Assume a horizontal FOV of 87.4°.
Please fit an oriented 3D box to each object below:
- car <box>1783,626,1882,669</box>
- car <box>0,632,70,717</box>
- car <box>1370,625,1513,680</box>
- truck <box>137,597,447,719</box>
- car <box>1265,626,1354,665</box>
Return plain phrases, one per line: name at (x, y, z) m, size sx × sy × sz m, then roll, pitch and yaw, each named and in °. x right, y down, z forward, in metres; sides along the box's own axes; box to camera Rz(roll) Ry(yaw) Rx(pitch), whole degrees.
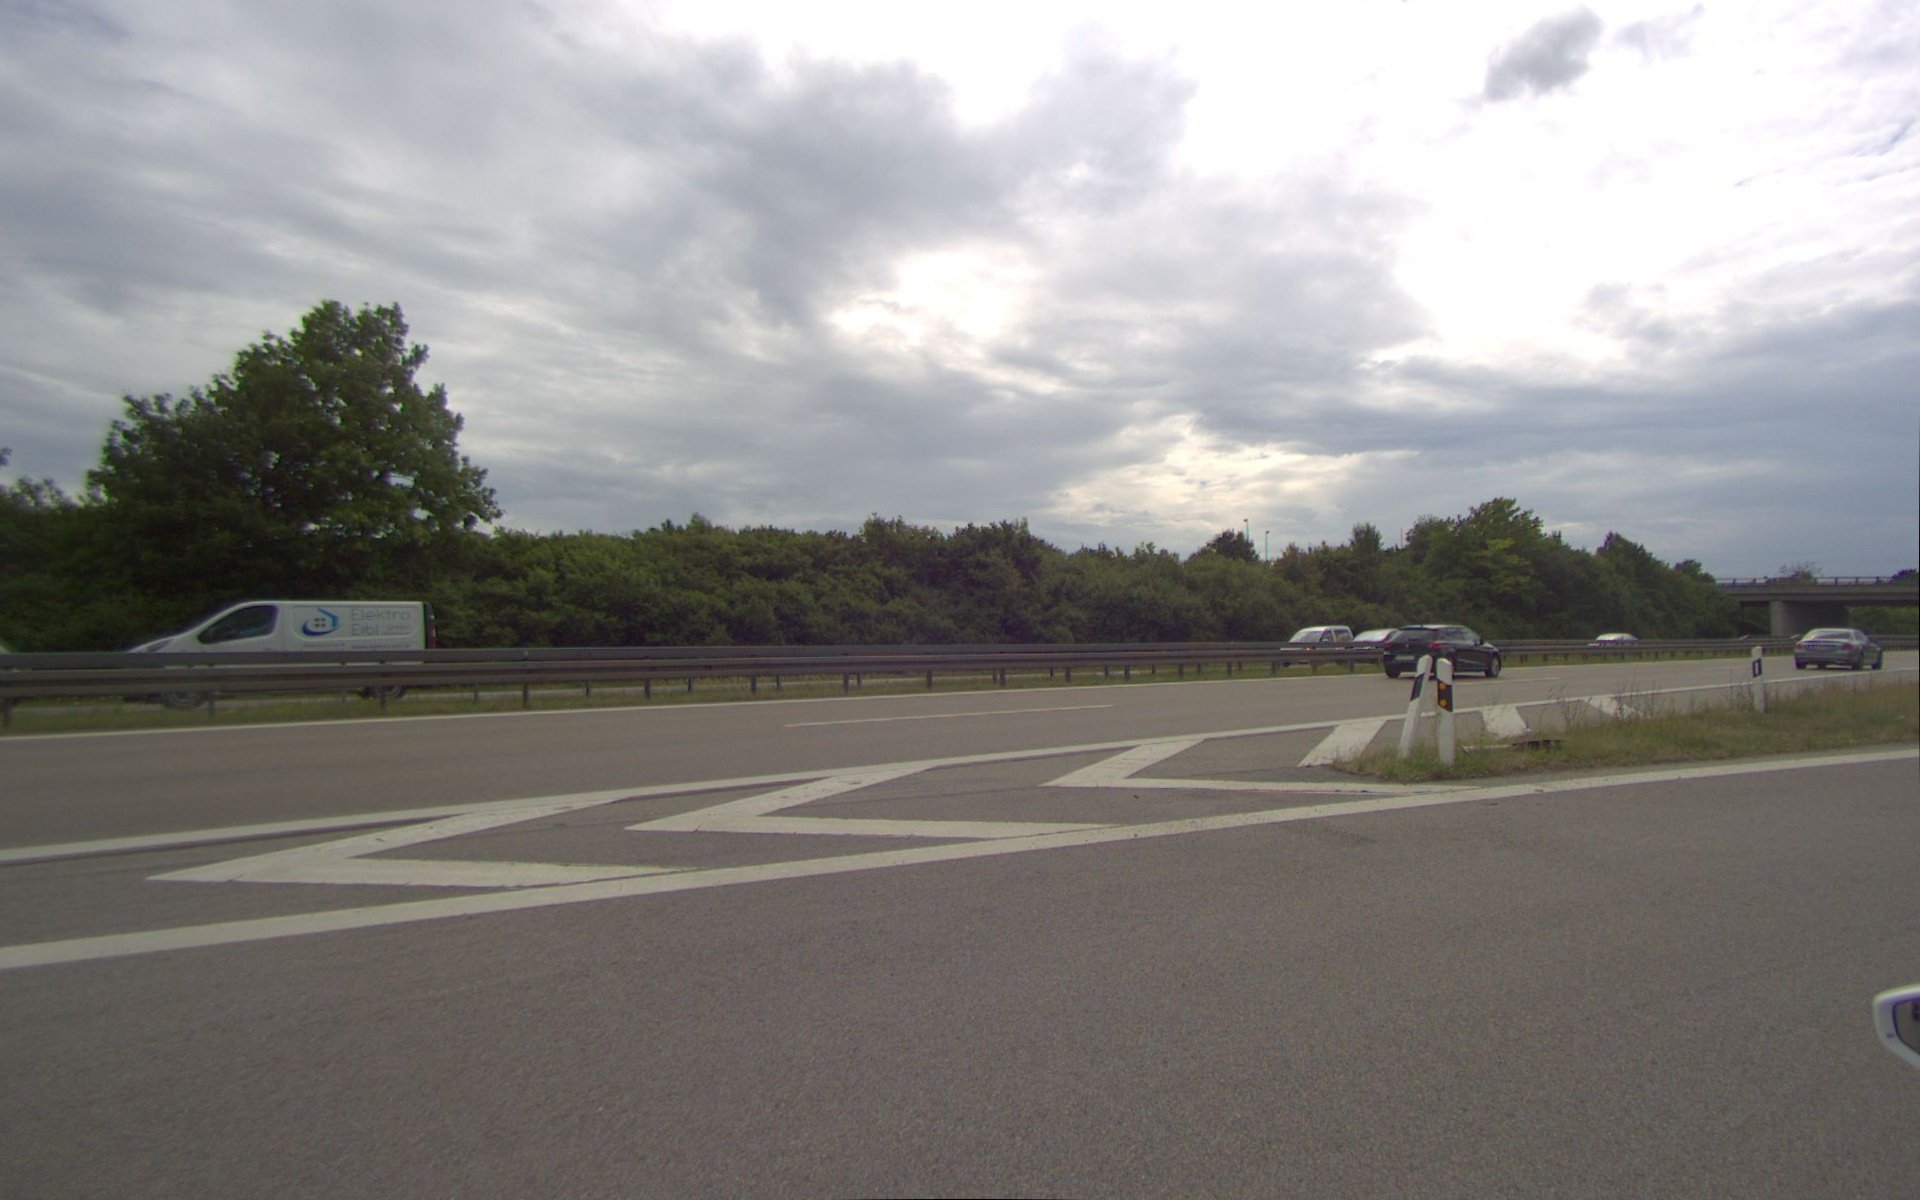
car at (31.444, 1.677, 36.170) m, size 4.507 × 1.417 × 1.767 m, roll 1°, pitch -2°, yaw -36°
car at (-19.289, 1.378, 18.620) m, size 3.963 × 1.539 × 1.979 m, roll 1°, pitch -2°, yaw -37°
car at (13.281, 1.401, 27.623) m, size 4.265 × 1.417 × 1.767 m, roll 1°, pitch -2°, yaw -36°
truck at (-12.512, 1.035, 19.051) m, size 4.677 × 2.040 × 1.979 m, roll 1°, pitch -2°, yaw -38°
car at (15.759, 2.010, 45.263) m, size 3.964 × 1.673 × 1.979 m, roll 1°, pitch -2°, yaw -38°
